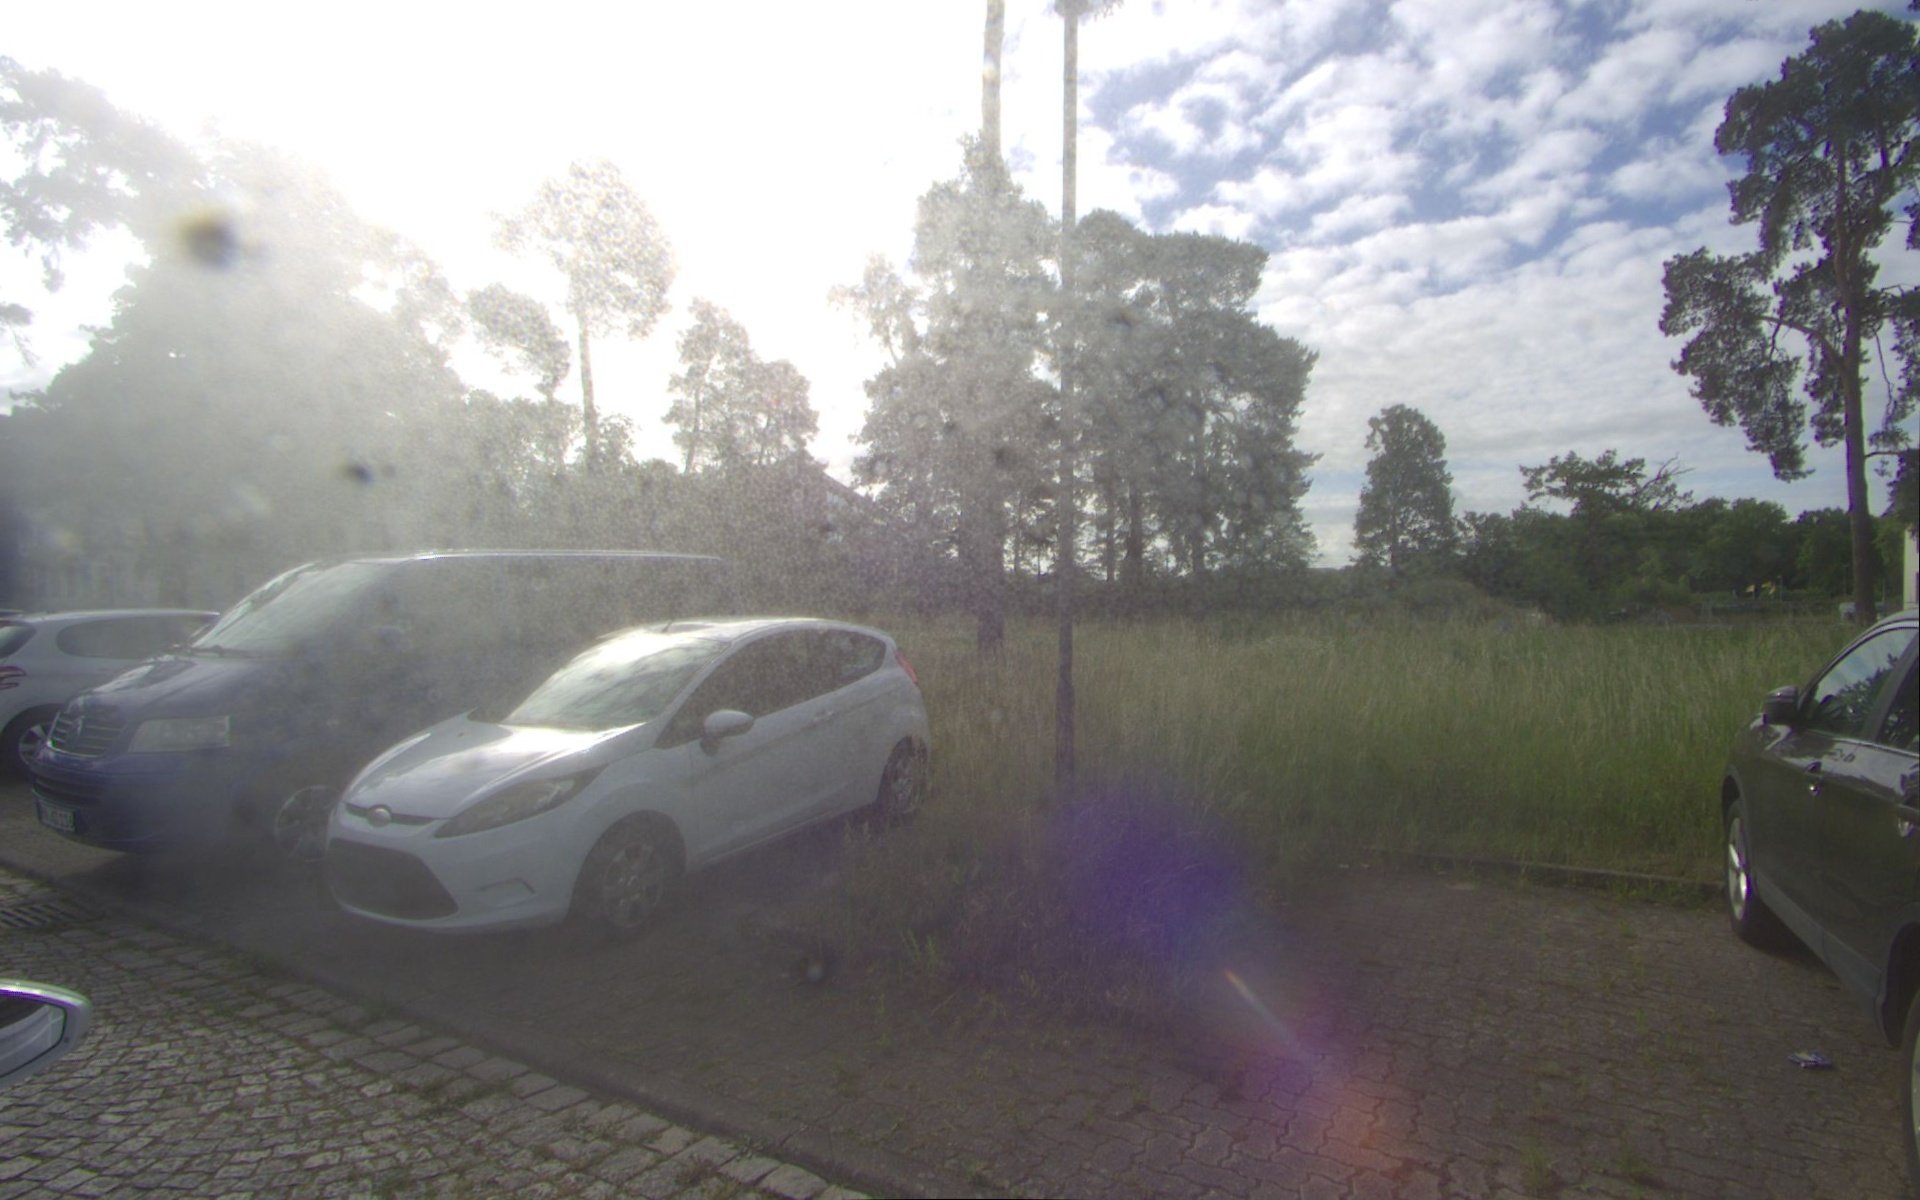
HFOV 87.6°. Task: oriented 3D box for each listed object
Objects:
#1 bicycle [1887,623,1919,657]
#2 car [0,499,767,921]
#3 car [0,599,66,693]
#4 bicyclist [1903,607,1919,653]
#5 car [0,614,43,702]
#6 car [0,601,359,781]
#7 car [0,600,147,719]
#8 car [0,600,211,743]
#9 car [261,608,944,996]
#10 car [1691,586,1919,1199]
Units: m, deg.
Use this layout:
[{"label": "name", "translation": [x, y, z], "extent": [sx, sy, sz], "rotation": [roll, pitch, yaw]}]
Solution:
[{"label": "bicycle", "translation": [42.135, 1.767, 44.049], "extent": [1.906, 1.499, 0.652], "rotation": [0, -1, 32]}, {"label": "car", "translation": [-3.672, 0.560, 7.413], "extent": [1.712, 2.067, 4.776], "rotation": [1, 0, 30]}, {"label": "car", "translation": [-17.159, 0.747, 16.001], "extent": [1.637, 1.564, 3.987], "rotation": [1, 0, 25]}, {"label": "bicyclist", "translation": [42.141, 1.326, 44.043], "extent": [0.836, 2.039, 0.656], "rotation": [0, -1, 32]}, {"label": "car", "translation": [-15.588, 0.864, 14.314], "extent": [1.637, 1.284, 3.292], "rotation": [1, 0, 25]}, {"label": "car", "translation": [-8.213, 0.780, 10.147], "extent": [1.638, 1.524, 3.289], "rotation": [1, 0, 29]}, {"label": "car", "translation": [-13.110, 0.761, 13.244], "extent": [1.635, 1.524, 3.296], "rotation": [1, 0, 20]}, {"label": "car", "translation": [-10.931, 0.767, 11.360], "extent": [1.635, 1.526, 3.602], "rotation": [1, 0, 20]}, {"label": "car", "translation": [-1.705, 0.818, 5.986], "extent": [1.629, 1.443, 3.718], "rotation": [1, 1, 28]}, {"label": "car", "translation": [3.636, 0.785, 3.031], "extent": [1.734, 1.601, 3.947], "rotation": [1, 0, 28]}]
